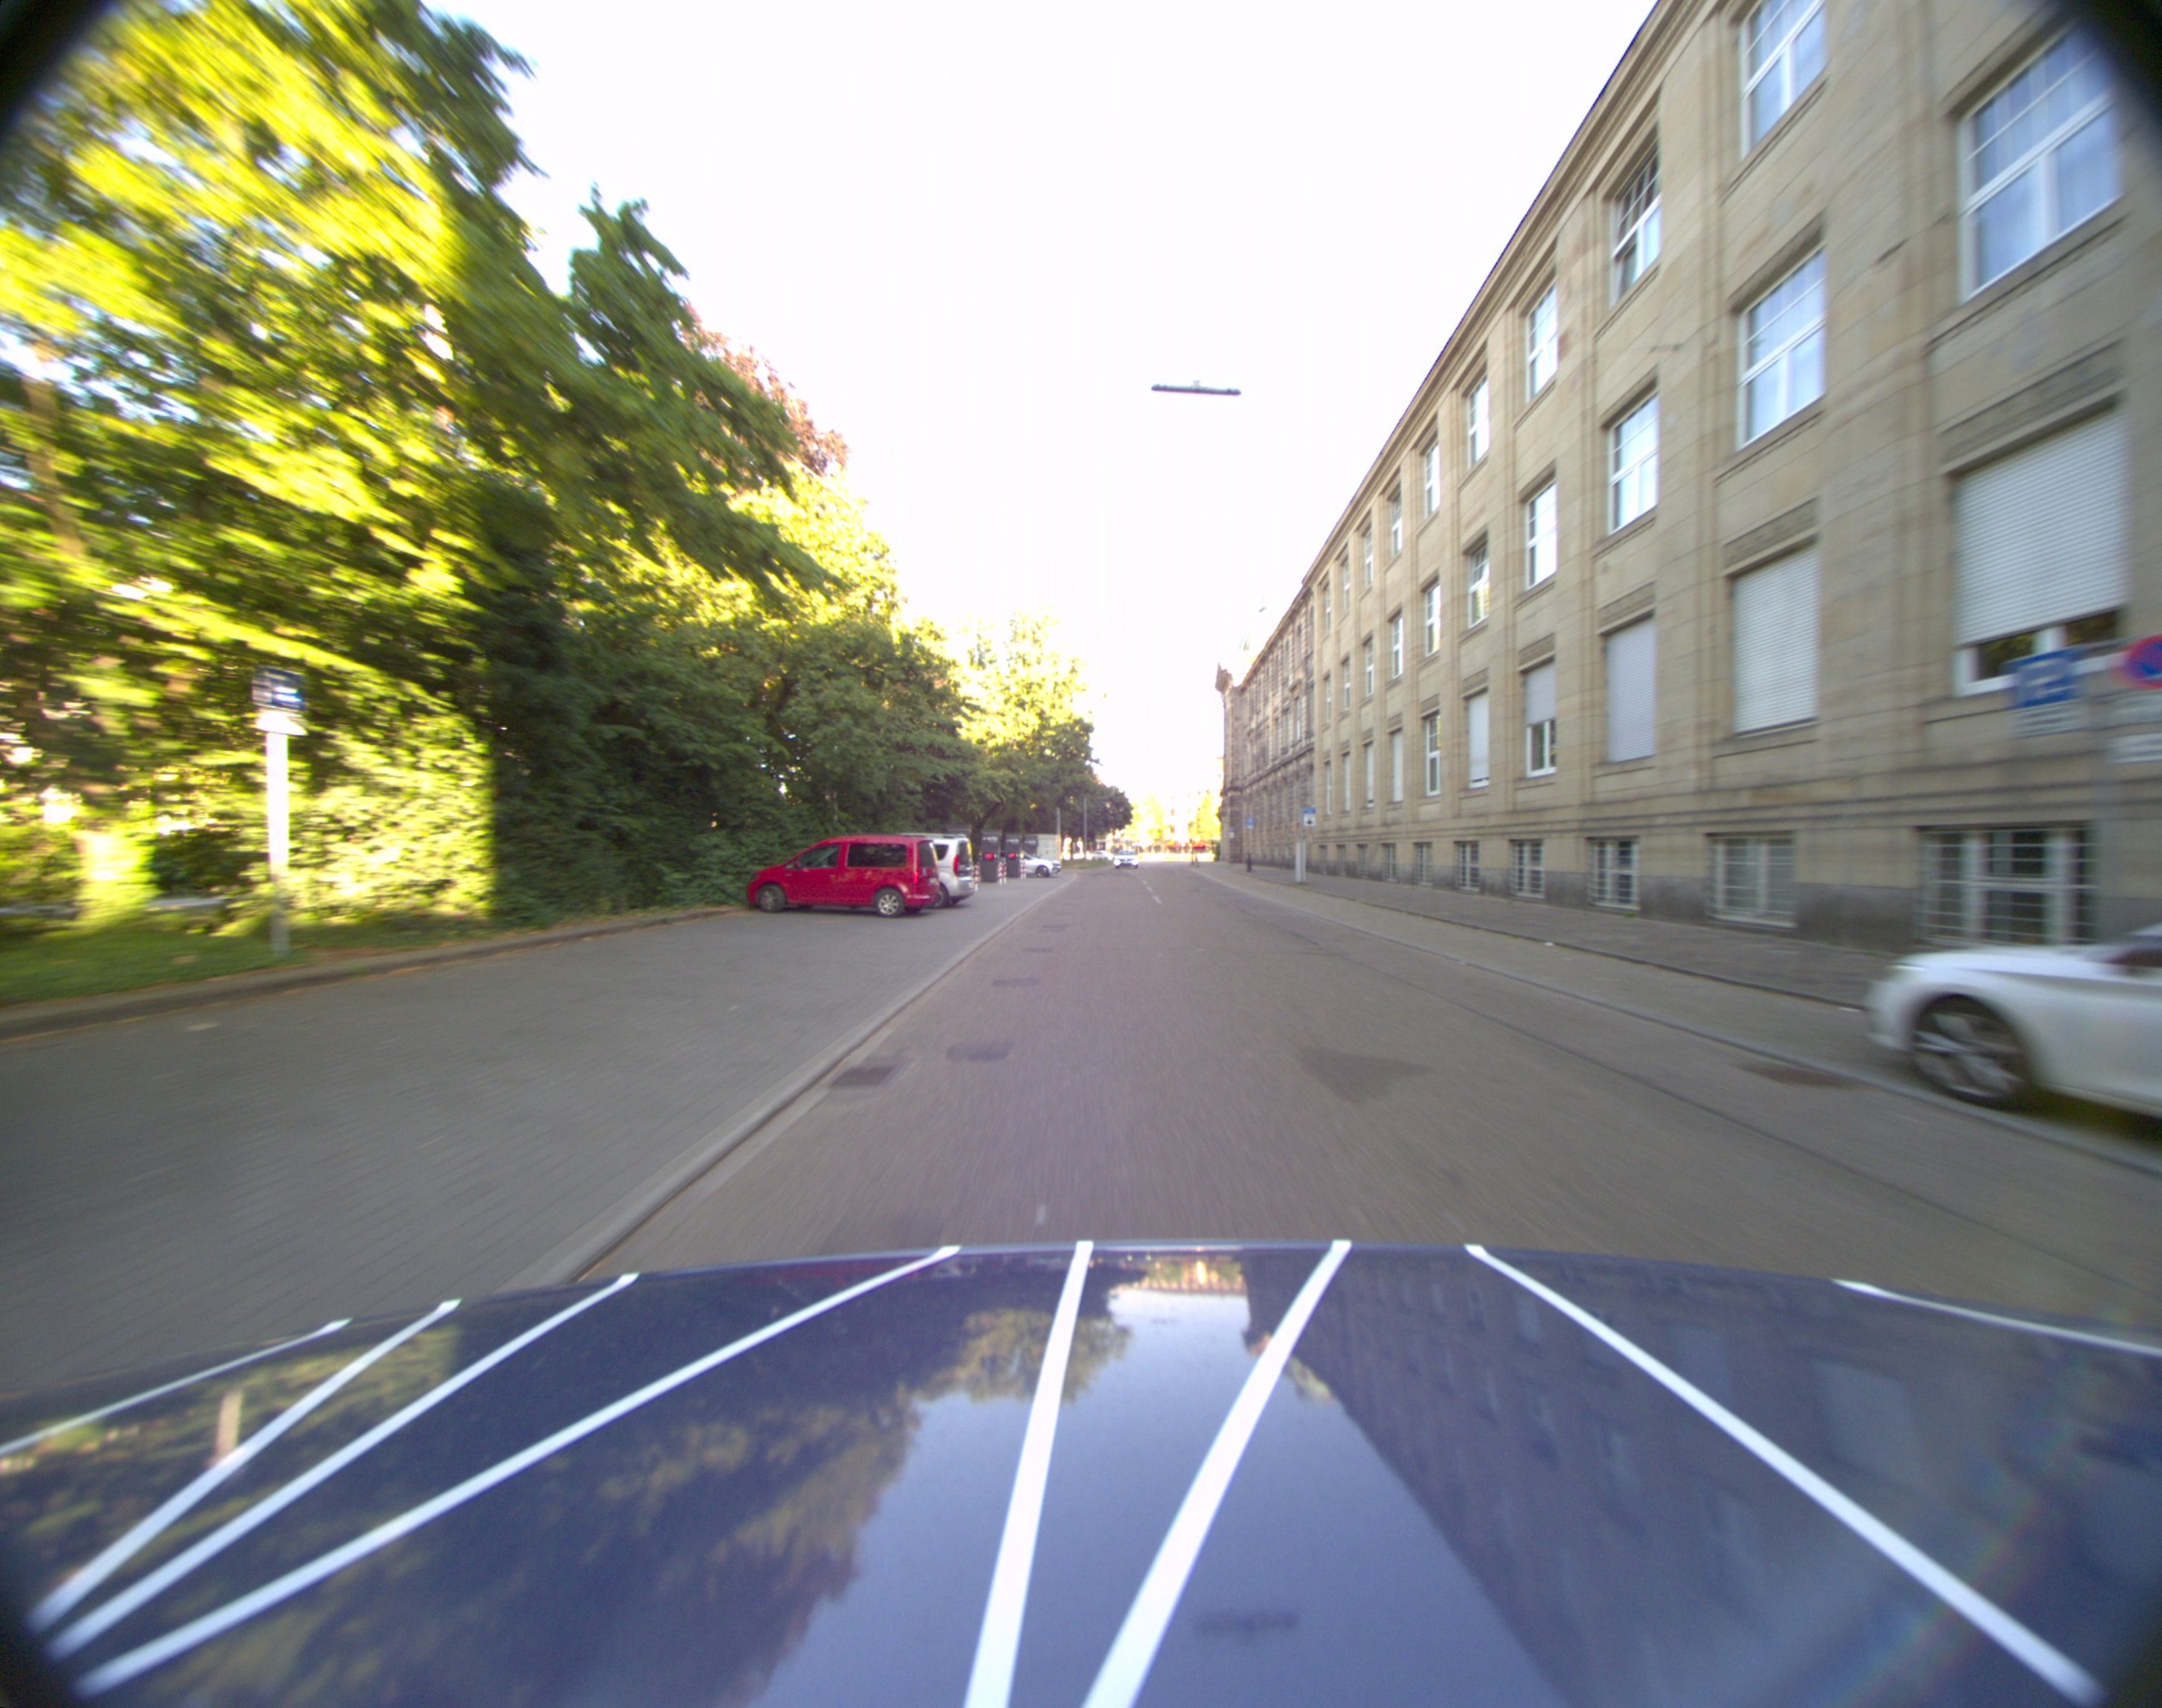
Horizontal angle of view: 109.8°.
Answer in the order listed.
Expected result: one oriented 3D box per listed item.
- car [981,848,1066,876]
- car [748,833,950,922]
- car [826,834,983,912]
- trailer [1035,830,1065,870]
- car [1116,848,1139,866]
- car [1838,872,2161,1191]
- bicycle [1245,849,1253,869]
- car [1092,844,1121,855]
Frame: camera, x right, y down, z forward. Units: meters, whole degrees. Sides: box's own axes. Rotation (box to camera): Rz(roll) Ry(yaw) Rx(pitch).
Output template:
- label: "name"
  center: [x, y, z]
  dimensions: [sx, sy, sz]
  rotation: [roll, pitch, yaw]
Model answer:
- label: "car"
  center: [-3.150, 0.428, 42.009]
  dimensions: [4.441, 1.458, 1.711]
  rotation: [0, 1, 5]
- label: "car"
  center: [-5.230, 0.493, 17.464]
  dimensions: [3.979, 1.852, 1.920]
  rotation: [1, 1, 6]
- label: "car"
  center: [-4.589, 0.460, 20.048]
  dimensions: [3.609, 1.873, 1.784]
  rotation: [1, 1, 5]
- label: "trailer"
  center: [-2.103, -0.296, 52.406]
  dimensions: [1.600, 2.625, 3.703]
  rotation: [0, 1, 5]
- label: "car"
  center: [3.857, 0.216, 62.905]
  dimensions: [1.687, 1.445, 4.104]
  rotation: [0, 1, 6]
- label: "car"
  center: [6.017, 0.883, 2.891]
  dimensions: [1.748, 1.426, 4.560]
  rotation: [-1, 1, 0]
- label: "bicycle"
  center: [10.251, 0.311, 46.358]
  dimensions: [0.457, 1.202, 1.879]
  rotation: [0, 1, 13]
- label: "car"
  center: [3.864, -0.663, 117.032]
  dimensions: [4.270, 1.635, 1.808]
  rotation: [0, 1, 39]
